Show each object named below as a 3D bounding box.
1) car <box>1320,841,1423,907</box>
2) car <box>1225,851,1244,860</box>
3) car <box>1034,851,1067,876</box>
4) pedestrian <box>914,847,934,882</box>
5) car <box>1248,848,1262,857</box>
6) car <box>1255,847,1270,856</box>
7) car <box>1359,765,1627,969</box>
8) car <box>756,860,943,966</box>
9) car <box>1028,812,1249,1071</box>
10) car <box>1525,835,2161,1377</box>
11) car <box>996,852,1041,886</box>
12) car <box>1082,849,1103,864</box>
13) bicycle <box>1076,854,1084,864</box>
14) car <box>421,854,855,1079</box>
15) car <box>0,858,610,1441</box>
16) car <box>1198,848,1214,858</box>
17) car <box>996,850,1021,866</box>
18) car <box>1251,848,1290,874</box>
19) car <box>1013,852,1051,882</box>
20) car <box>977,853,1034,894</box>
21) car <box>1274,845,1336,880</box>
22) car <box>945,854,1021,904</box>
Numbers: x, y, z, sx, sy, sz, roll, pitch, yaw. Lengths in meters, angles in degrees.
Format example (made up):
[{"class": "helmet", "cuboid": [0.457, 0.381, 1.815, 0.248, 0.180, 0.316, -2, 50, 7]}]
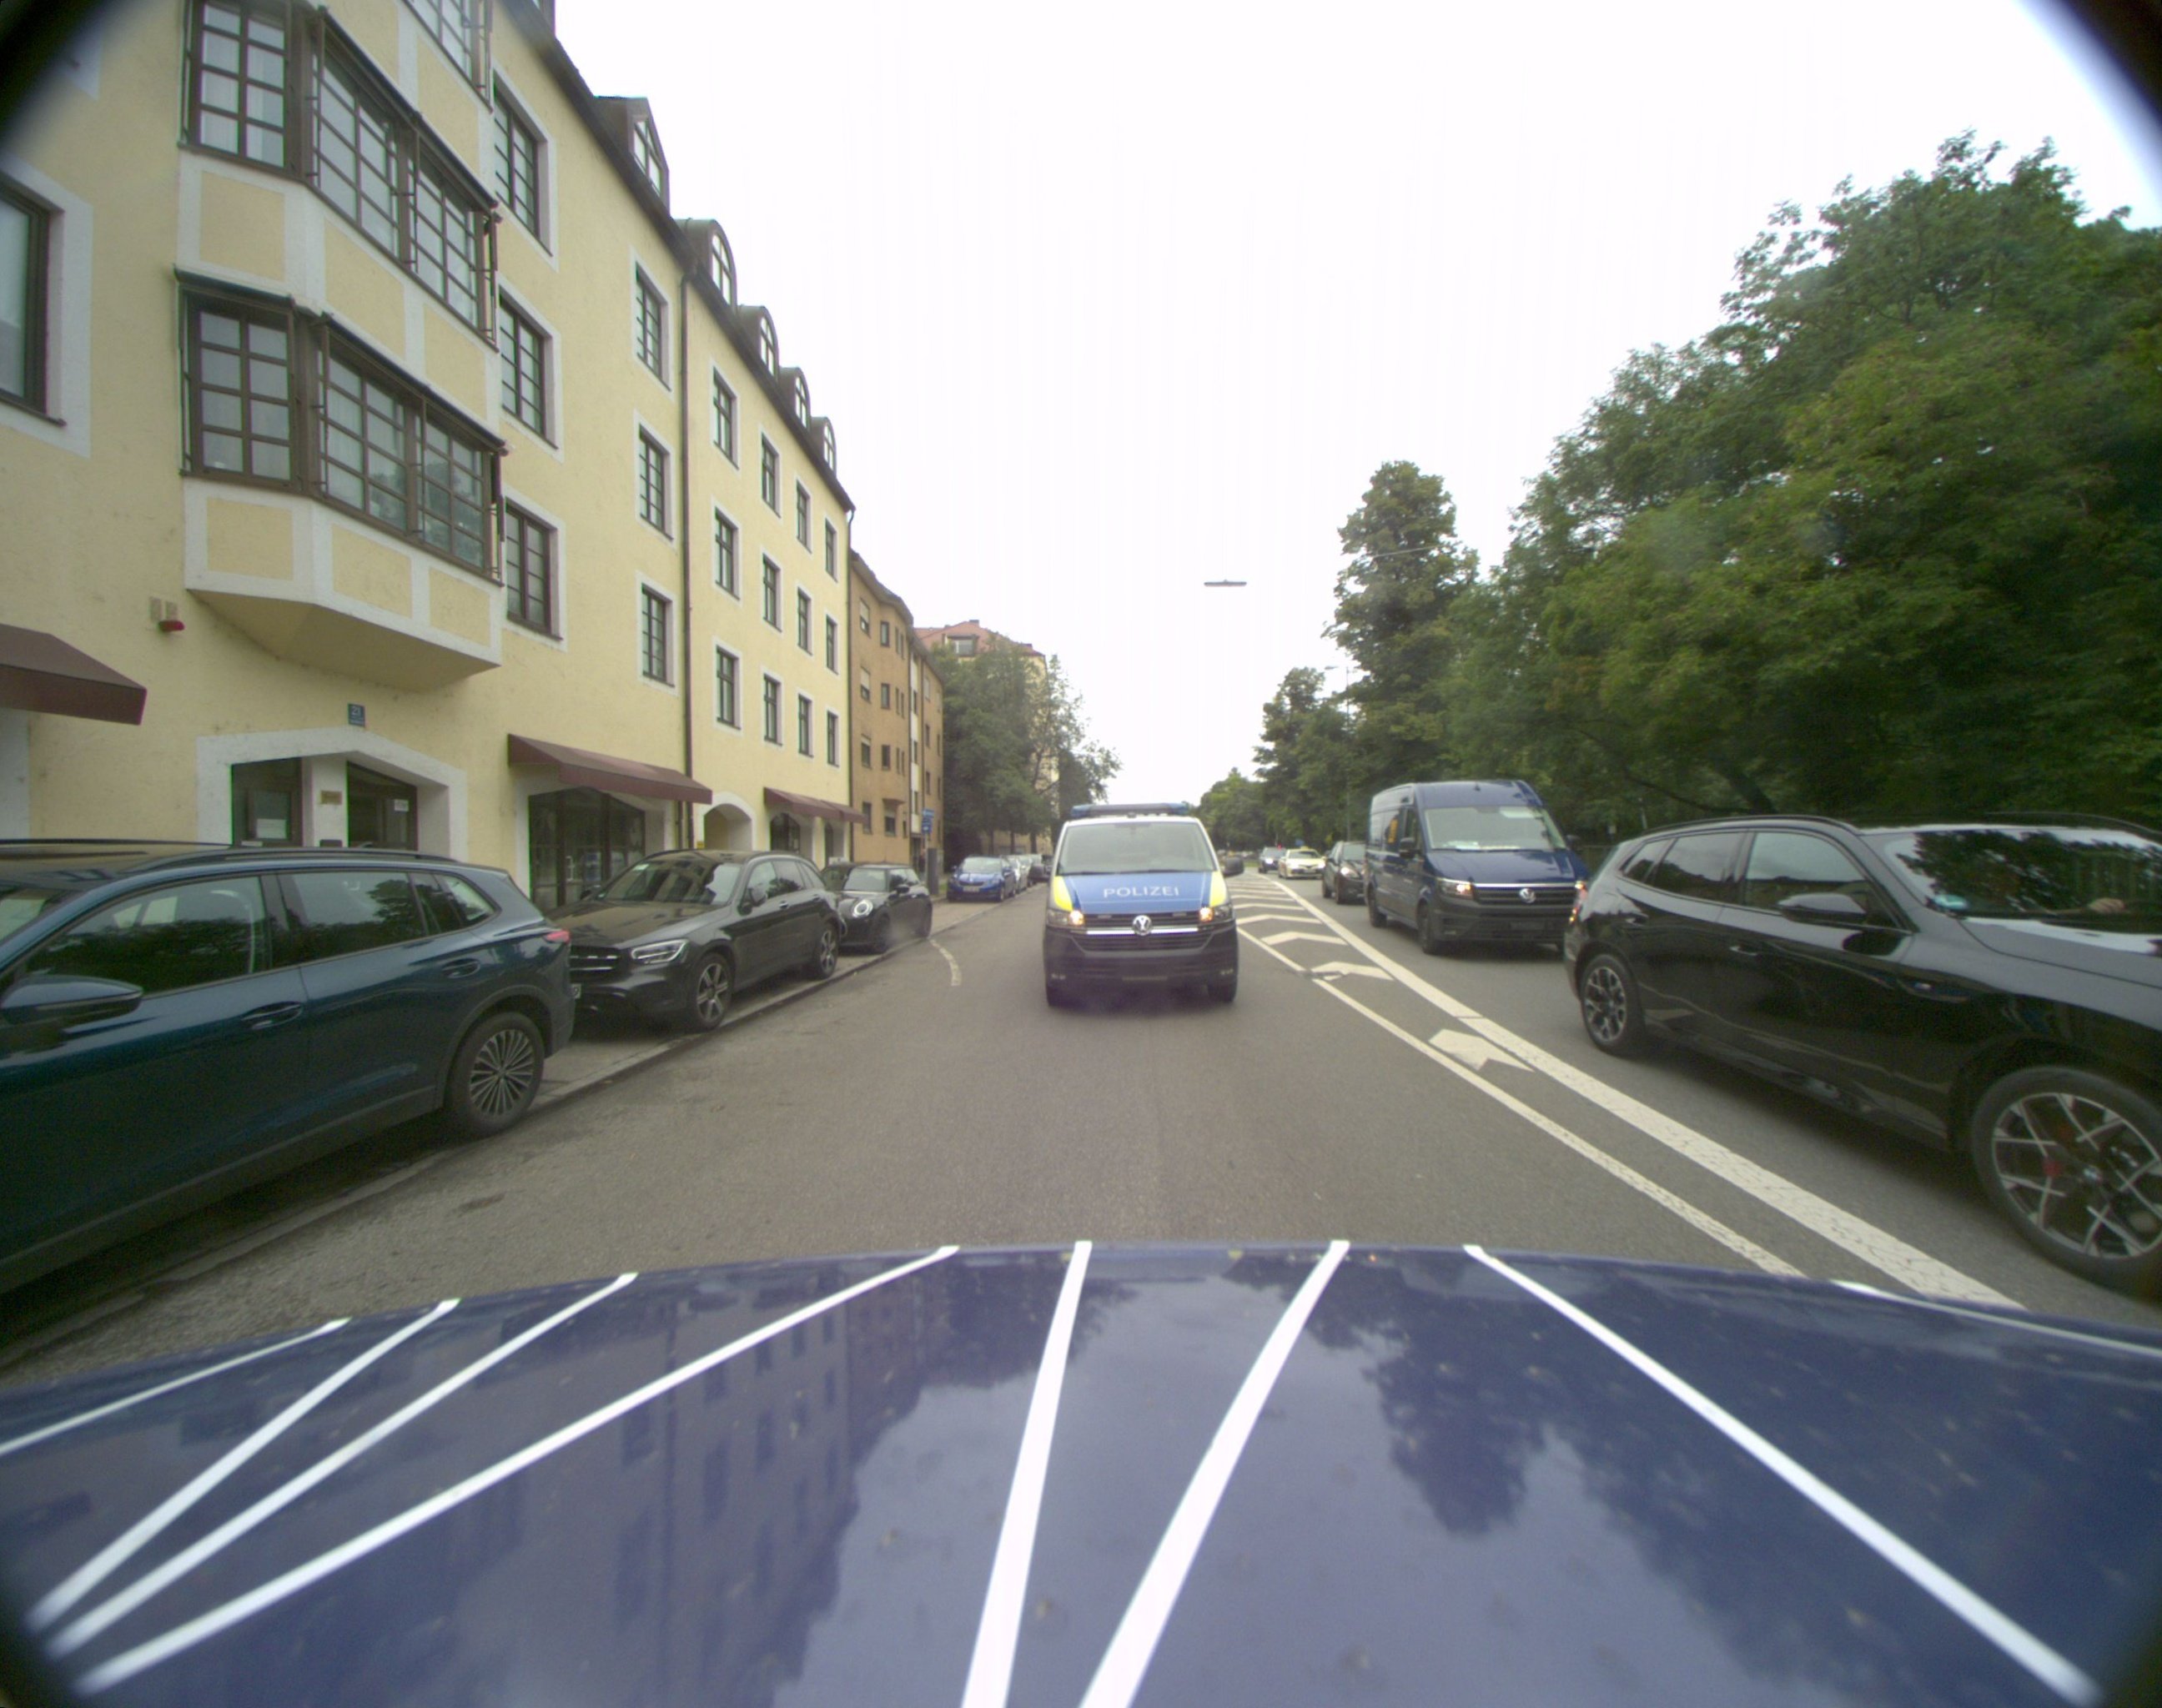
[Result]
[{"class": "car", "cuboid": [7.805, 0.479, 20.797, 1.990, 1.618, 4.277, 0, 1, 12]}, {"class": "car", "cuboid": [24.436, 0.268, 121.263, 1.999, 1.438, 4.524, 0, 0, -2]}, {"class": "car", "cuboid": [-1.937, 0.557, 49.346, 1.796, 1.488, 4.376, 2, 1, 2]}, {"class": "pedestrian", "cuboid": [-7.459, 0.493, 36.053, 0.672, 1.615, 0.980, -1, 2, 3]}, {"class": "car", "cuboid": [33.606, -0.367, 147.064, 1.866, 1.736, 4.000, -1, 1, 1]}, {"class": "car", "cuboid": [33.423, -0.463, 140.103, 1.885, 1.736, 4.000, -1, 1, 1]}, {"class": "car", "cuboid": [6.059, 0.103, 12.190, 2.187, 2.450, 5.855, 0, 1, 12]}, {"class": "car", "cuboid": [-3.797, 0.883, 13.190, 1.760, 1.487, 3.824, 1, 1, 5]}, {"class": "car", "cuboid": [0.585, 0.705, 8.755, 1.856, 2.198, 4.553, -1, 1, 2]}, {"class": "car", "cuboid": [4.347, 0.707, 3.800, 1.917, 1.577, 4.831, -1, 1, 7]}, {"class": "car", "cuboid": [-2.890, 0.672, 35.753, 1.631, 1.487, 3.787, 1, 1, 3]}, {"class": "car", "cuboid": [1.271, 0.211, 83.790, 2.129, 1.556, 4.507, -2, 0, 2]}, {"class": "bicycle", "cuboid": [-0.114, 0.499, 79.473, 0.632, 1.032, 1.736, 0, 0, 7]}, {"class": "car", "cuboid": [-4.113, 0.862, 8.192, 1.760, 1.669, 4.707, 1, 1, 3]}, {"class": "car", "cuboid": [-4.100, 0.888, 2.870, 1.823, 1.669, 4.510, 1, 1, 0]}, {"class": "car", "cuboid": [23.595, -0.208, 143.868, 1.999, 1.742, 4.524, -2, 0, -2]}, {"class": "car", "cuboid": [-6.887, 0.401, 72.368, 2.053, 1.459, 4.244, -1, 0, -2]}, {"class": "car", "cuboid": [11.904, 0.404, 47.860, 1.991, 1.556, 4.276, 0, 1, 9]}, {"class": "car", "cuboid": [-2.580, 0.651, 40.763, 1.631, 1.487, 3.821, 1, 1, 3]}, {"class": "car", "cuboid": [-2.953, 0.708, 30.599, 1.694, 1.487, 4.434, 1, 0, 2]}, {"class": "car", "cuboid": [10.533, 0.349, 36.048, 1.991, 1.556, 4.656, 0, 0, 6]}, {"class": "car", "cuboid": [-3.174, 0.756, 25.548, 1.760, 1.487, 4.488, 1, 0, 3]}]
